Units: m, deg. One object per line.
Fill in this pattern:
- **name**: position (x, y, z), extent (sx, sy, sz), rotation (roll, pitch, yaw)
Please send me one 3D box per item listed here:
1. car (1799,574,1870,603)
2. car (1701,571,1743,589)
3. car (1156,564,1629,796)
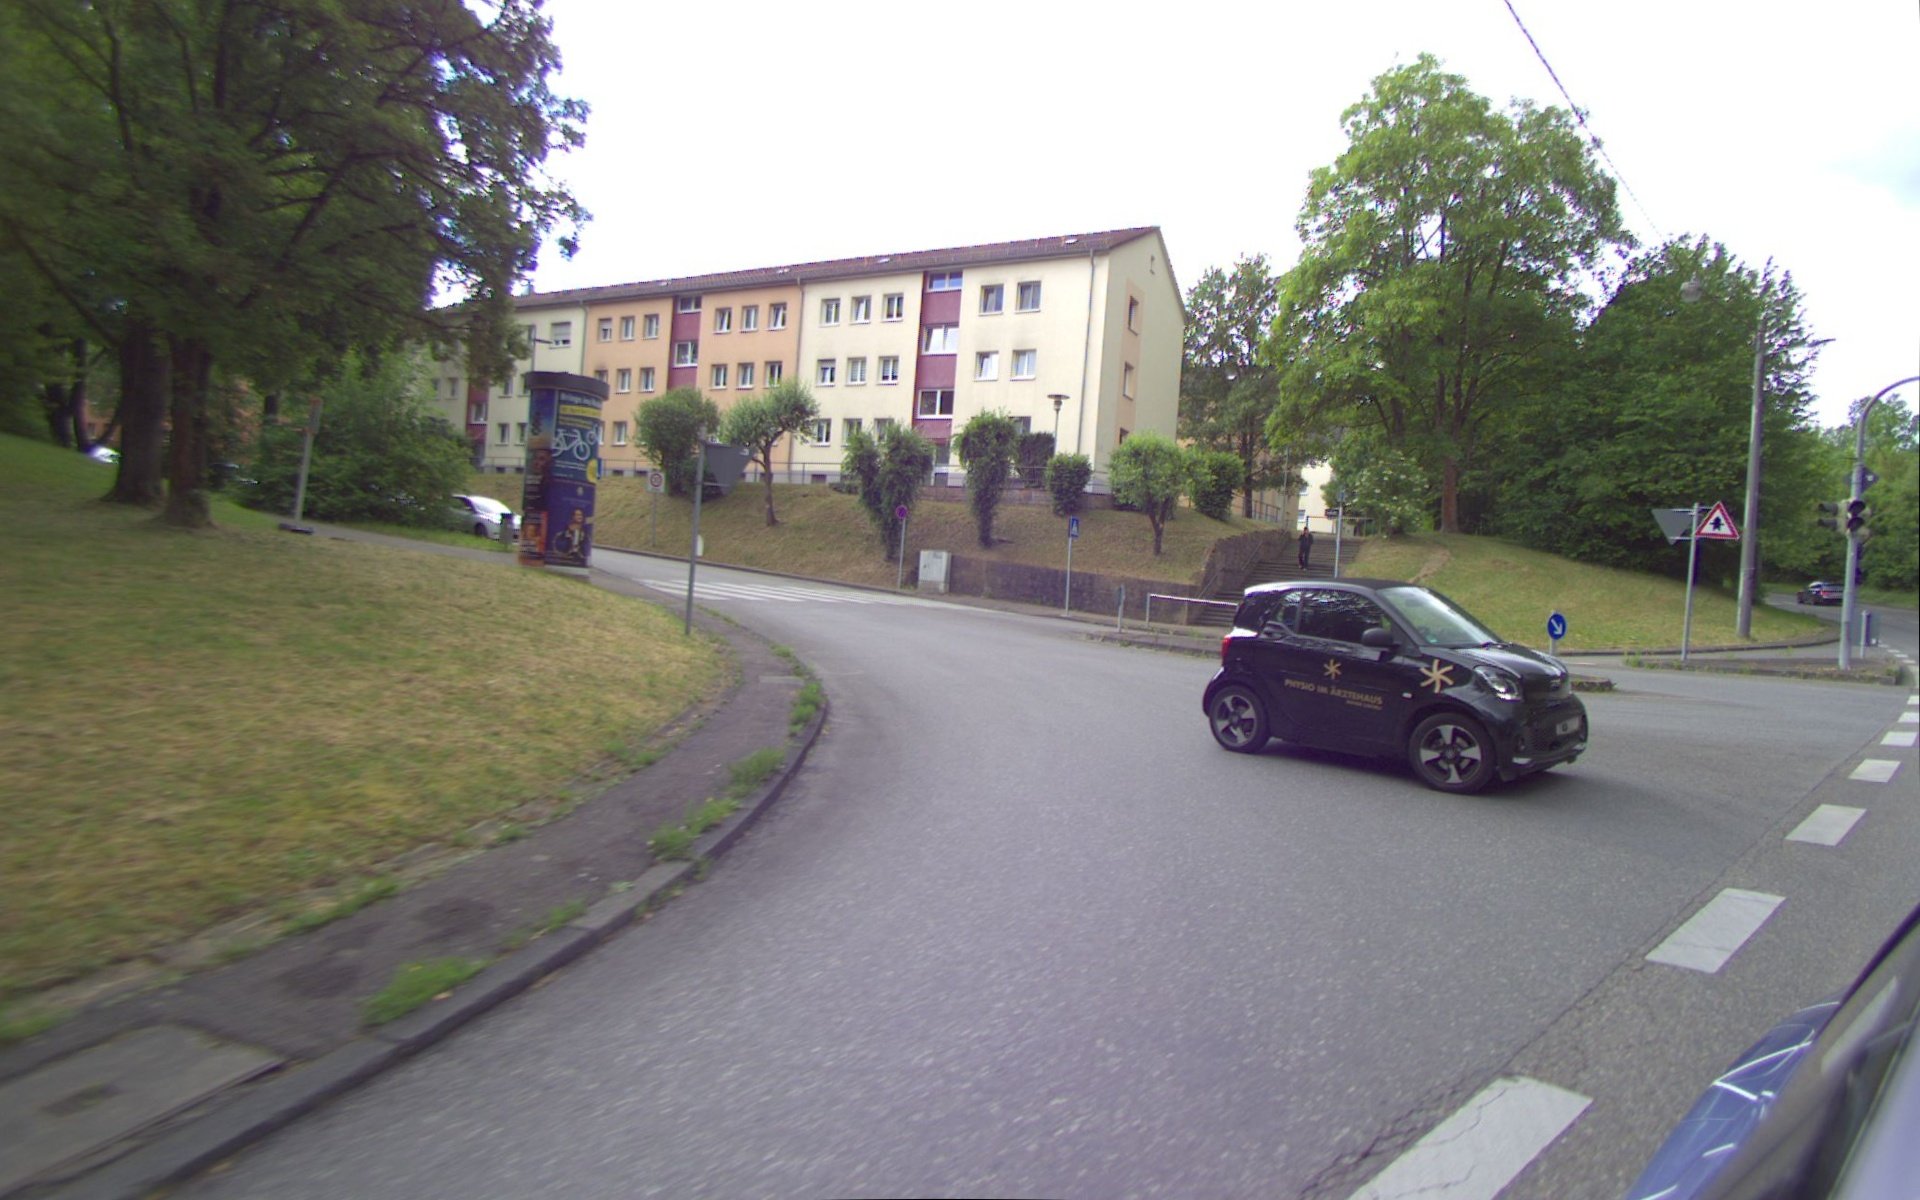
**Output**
- **car**: position (54.280, -0.764, 62.929), extent (1.884, 1.370, 4.806), rotation (4, 6, 24)
- **car**: position (64.258, -1.669, 85.387), extent (1.789, 1.452, 4.622), rotation (0, 1, 24)
- **car**: position (3.489, 0.489, 8.639), extent (1.637, 1.513, 3.315), rotation (0, 3, -36)
